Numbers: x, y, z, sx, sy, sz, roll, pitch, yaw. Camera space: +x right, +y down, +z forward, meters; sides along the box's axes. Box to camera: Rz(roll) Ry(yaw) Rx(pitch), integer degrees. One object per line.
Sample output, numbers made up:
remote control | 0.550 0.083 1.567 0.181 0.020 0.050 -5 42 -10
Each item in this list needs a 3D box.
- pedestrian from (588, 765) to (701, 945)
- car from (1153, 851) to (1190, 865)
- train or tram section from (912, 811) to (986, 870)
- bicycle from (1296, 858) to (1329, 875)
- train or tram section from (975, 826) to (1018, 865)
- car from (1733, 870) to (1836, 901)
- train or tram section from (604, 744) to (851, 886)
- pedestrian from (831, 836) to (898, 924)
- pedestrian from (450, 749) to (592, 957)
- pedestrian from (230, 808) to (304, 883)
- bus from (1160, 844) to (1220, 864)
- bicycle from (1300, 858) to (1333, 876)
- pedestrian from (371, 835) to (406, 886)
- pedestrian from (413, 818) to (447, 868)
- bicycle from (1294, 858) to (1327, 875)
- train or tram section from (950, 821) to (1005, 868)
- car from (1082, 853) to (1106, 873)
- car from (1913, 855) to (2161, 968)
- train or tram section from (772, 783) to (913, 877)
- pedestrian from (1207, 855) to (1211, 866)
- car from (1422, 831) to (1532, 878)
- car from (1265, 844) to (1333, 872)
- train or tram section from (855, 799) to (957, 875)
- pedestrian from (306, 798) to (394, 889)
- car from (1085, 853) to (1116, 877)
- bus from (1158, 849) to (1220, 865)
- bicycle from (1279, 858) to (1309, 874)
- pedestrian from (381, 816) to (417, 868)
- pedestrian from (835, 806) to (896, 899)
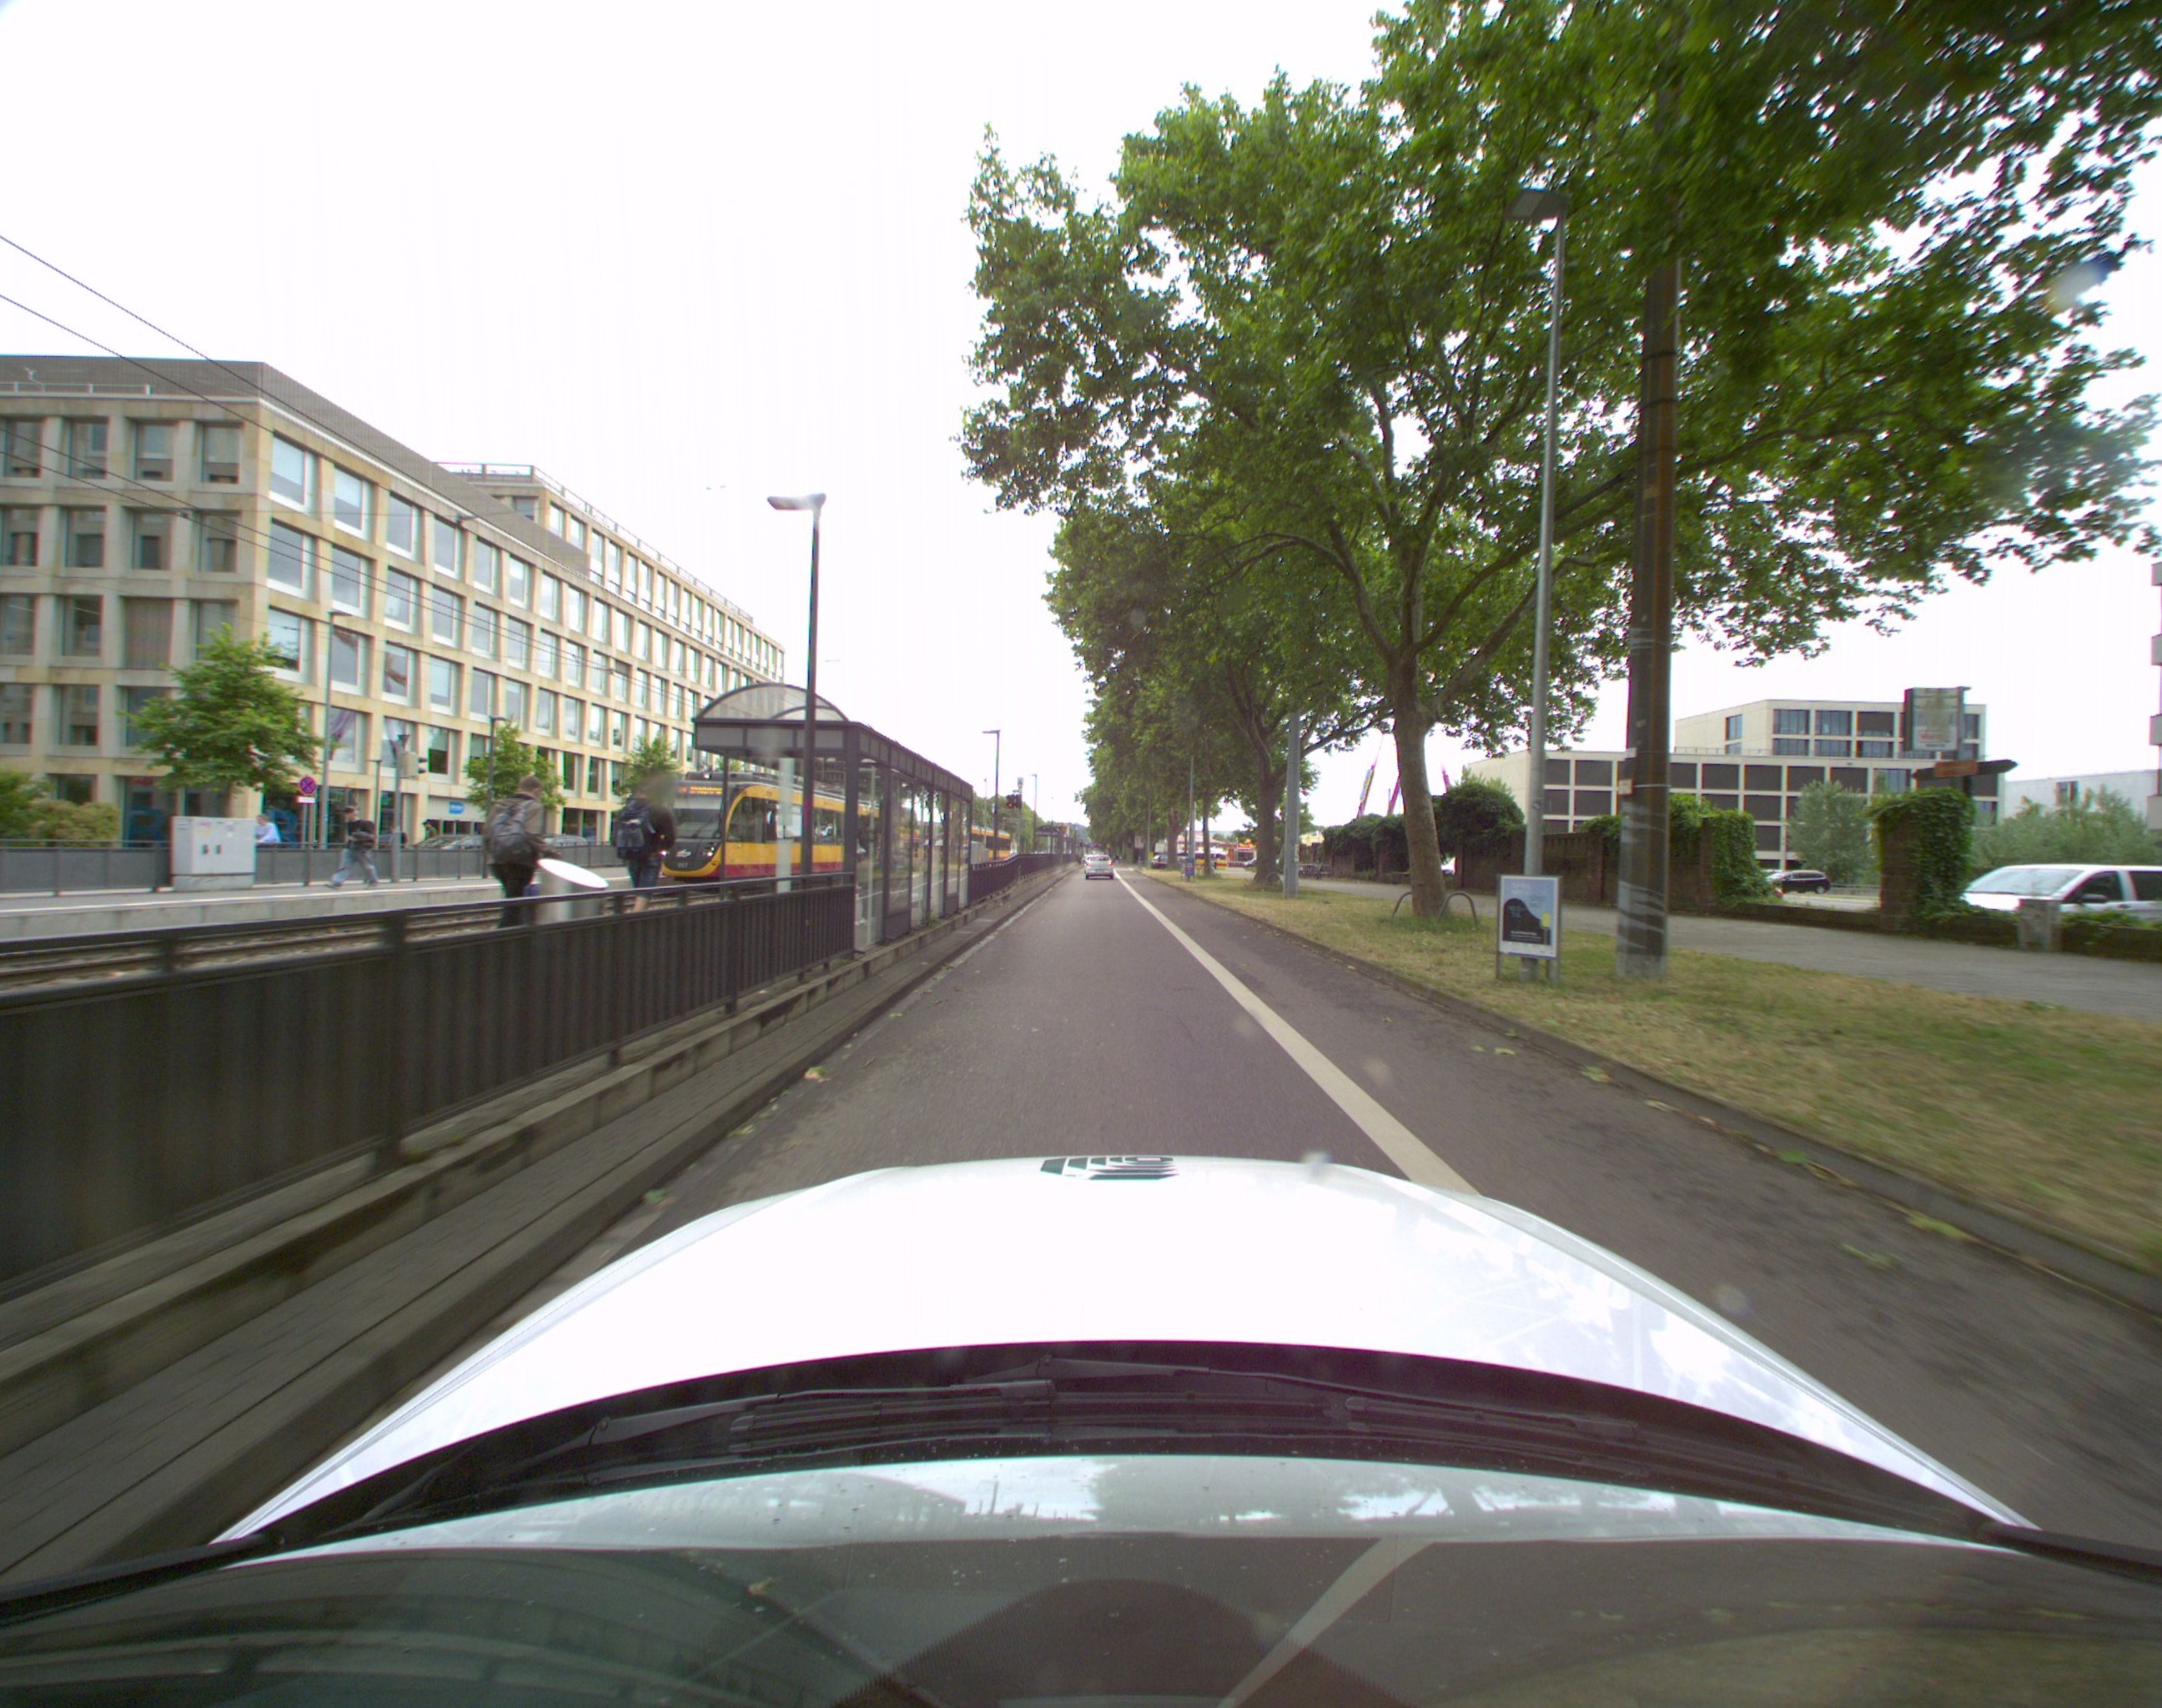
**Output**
pedestrian | -4.633 0.020 8.726 0.669 1.793 1.110 1 -1 -8
car | 9.871 0.401 89.173 3.969 1.486 1.788 1 0 3
train or tram section | -10.400 -0.898 66.304 3.169 4.179 14.737 1 0 1
bicycle | 14.634 0.798 51.485 1.894 1.097 0.549 0 -1 -1
train or tram section | -9.730 -0.878 95.736 3.169 4.179 14.737 1 0 1
car | 39.401 1.728 45.745 3.951 1.596 2.011 1 -1 24
train or tram section | -11.364 -1.034 28.150 3.226 3.862 11.314 1 0 1
pedestrian | -3.334 0.394 12.591 0.832 1.303 0.613 1 -1 -1
pedestrian | -5.183 0.000 7.617 0.670 1.793 1.108 1 -1 -12
pedestrian | -22.540 -0.219 22.565 0.930 2.014 1.032 1 -1 -1
bus | 17.175 0.046 128.436 9.252 2.960 1.999 1 -1 -2
bicycle | 14.701 0.800 50.907 1.884 1.105 0.549 0 -1 -1
pedestrian | -28.004 0.252 32.928 0.710 2.014 0.725 1 -1 0
pedestrian | -26.811 -0.437 33.552 0.710 2.014 0.725 1 -1 0
bicycle | 14.707 0.794 52.123 1.968 1.095 0.549 0 -1 -1
train or tram section | -10.078 -0.773 81.042 3.169 4.179 14.737 1 0 1
car | 1.090 0.684 65.776 1.833 1.552 4.002 1 0 2
car | 19.683 1.081 15.951 4.863 2.014 1.999 1 -1 -2
train or tram section | -11.081 -0.967 39.548 3.152 3.862 11.314 1 0 1
pedestrian | 18.655 0.943 119.033 0.491 1.463 0.523 1 -1 -2
car | 21.053 0.054 43.387 5.082 2.264 1.665 2 -1 -2
car | 21.185 0.432 79.207 6.005 2.555 2.099 1 -1 -1
train or tram section | -10.769 -0.883 52.084 3.169 4.179 13.623 1 0 1
pedestrian | -14.966 -0.204 16.710 0.709 1.795 1.160 1 -1 0
car | 1.258 0.676 51.243 1.878 1.453 4.002 1 -1 2
bus | 16.602 0.449 125.299 9.252 2.227 1.999 1 -1 -2
bicycle | 14.665 0.826 56.066 1.916 1.091 0.549 0 -1 -1
pedestrian | -26.782 -0.450 31.998 0.710 2.014 0.725 1 -1 0
pedestrian | -4.790 -0.036 18.163 1.055 2.014 0.840 1 -1 1
